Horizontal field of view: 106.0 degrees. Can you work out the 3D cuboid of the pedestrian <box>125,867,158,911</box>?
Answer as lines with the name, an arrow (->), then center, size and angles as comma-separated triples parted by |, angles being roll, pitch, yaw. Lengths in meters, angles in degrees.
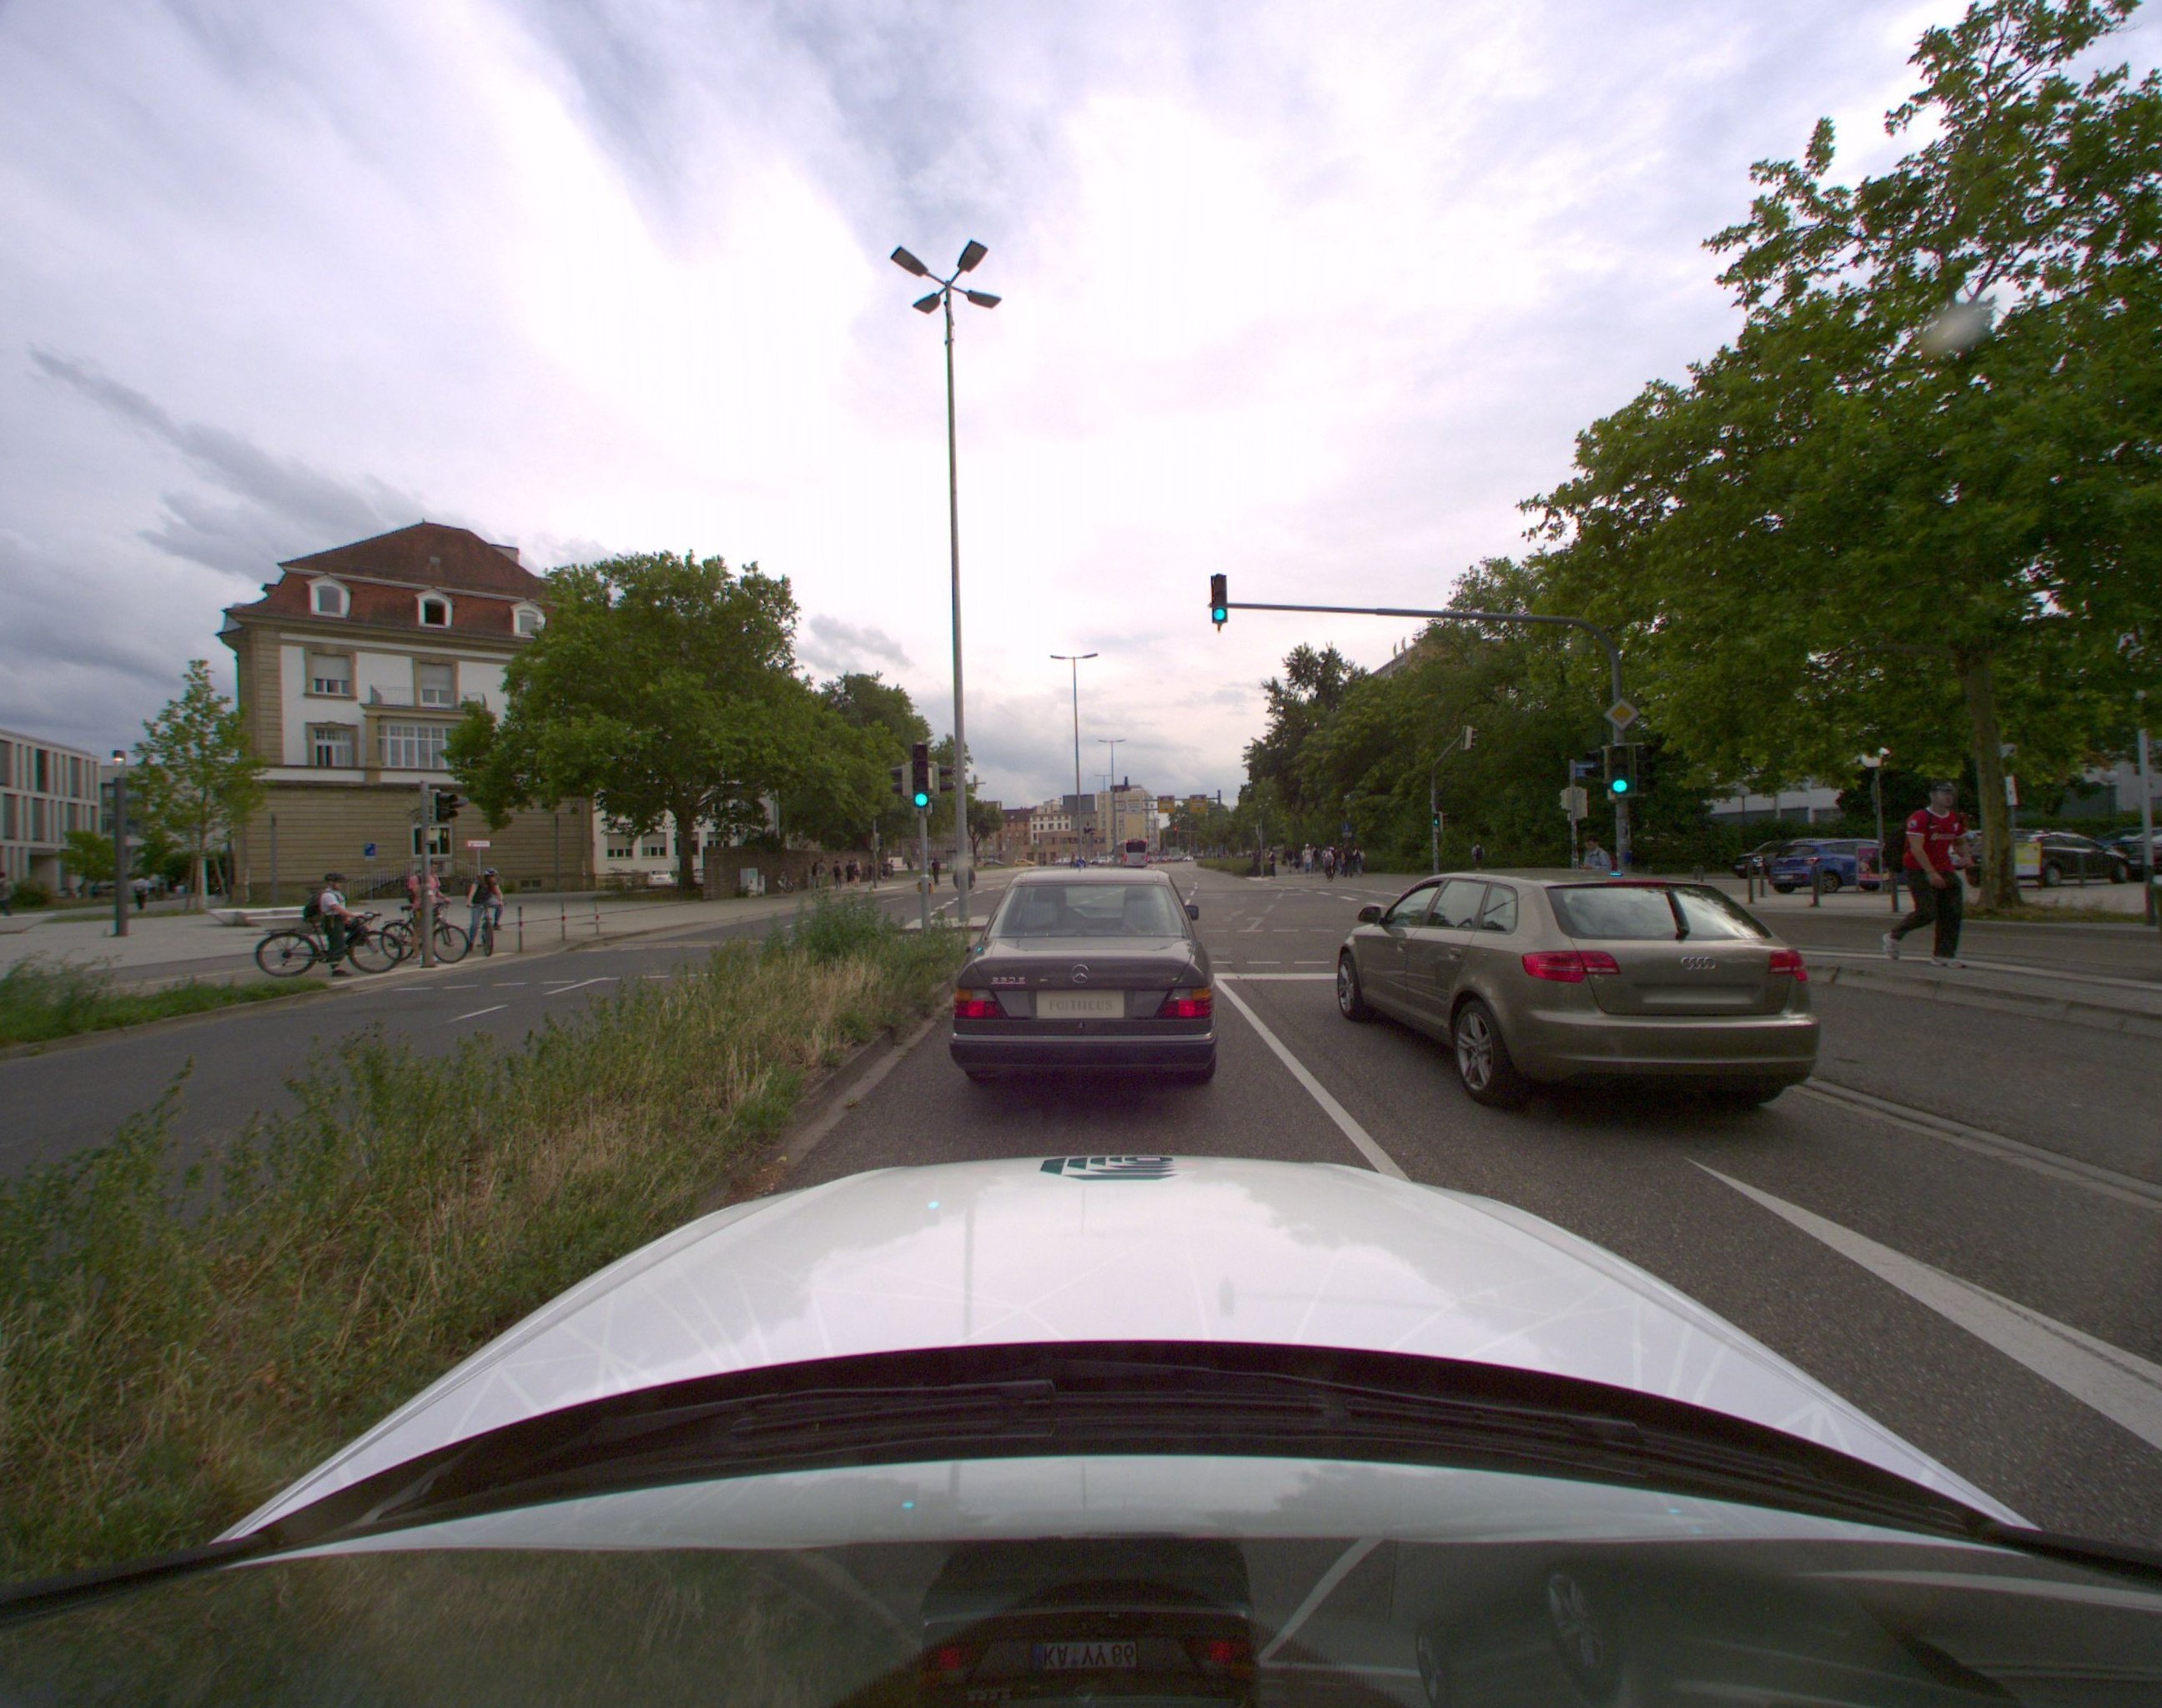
pedestrian -> -43.955, 1.627, 38.098 | 0.797, 2.013, 0.827 | -1, 0, -34

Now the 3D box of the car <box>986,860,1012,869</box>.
car -> -14.969, 1.902, 148.819 | 4.654, 1.475, 1.660 | 0, 0, 0

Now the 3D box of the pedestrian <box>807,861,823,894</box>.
pedestrian -> -14.788, 1.321, 45.248 | 0.763, 1.782, 0.777 | 0, -2, -27

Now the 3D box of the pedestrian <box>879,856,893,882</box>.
pedestrian -> -13.671, 1.081, 57.112 | 0.762, 1.782, 0.917 | -1, -2, -24

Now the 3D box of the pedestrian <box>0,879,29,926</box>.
pedestrian -> -36.393, 1.644, 27.549 | 0.698, 1.548, 0.737 | -2, -1, 8

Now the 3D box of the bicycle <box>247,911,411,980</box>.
bicycle -> -12.082, 1.456, 13.145 | 1.818, 0.989, 0.726 | 0, -1, -12

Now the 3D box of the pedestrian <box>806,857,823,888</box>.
pedestrian -> -15.454, 1.093, 47.232 | 0.749, 1.782, 0.776 | 0, -2, -30

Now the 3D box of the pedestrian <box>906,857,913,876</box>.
pedestrian -> -14.898, 1.103, 70.954 | 0.560, 1.668, 0.624 | -1, -2, -12

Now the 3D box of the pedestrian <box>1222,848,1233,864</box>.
pedestrian -> 16.577, 0.213, 91.936 | 0.925, 1.830, 0.893 | -2, 0, 32

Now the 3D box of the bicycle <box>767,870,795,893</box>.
bicycle -> -15.356, 1.403, 41.762 | 0.575, 1.126, 2.165 | 1, 0, 1

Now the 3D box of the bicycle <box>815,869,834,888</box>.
bicycle -> -15.687, 1.484, 49.859 | 0.547, 1.058, 1.980 | 1, 0, -1

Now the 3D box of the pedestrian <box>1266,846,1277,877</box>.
pedestrian -> 10.908, 0.413, 46.715 | 0.452, 1.735, 0.637 | -2, -1, 3

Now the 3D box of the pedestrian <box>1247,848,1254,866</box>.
pedestrian -> 18.654, 0.310, 89.616 | 0.611, 2.014, 0.598 | -1, 0, 4

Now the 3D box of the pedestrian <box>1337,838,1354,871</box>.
pedestrian -> 14.356, 0.041, 44.221 | 0.654, 1.745, 0.781 | -2, 0, 3

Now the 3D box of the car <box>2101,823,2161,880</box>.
car -> 31.609, -0.114, 22.576 | 4.422, 1.567, 1.675 | -1, -1, 1

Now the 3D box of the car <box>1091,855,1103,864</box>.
car -> 2.791, 0.893, 142.686 | 1.793, 1.489, 4.294 | -2, 0, 5

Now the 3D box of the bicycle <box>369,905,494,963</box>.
bicycle -> -11.875, 1.449, 14.932 | 1.688, 0.989, 0.569 | 0, -1, -12

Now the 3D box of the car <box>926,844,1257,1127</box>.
car -> 0.122, 0.717, 6.501 | 1.754, 1.489, 4.173 | -2, 0, 2

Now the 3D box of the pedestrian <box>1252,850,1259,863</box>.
pedestrian -> 20.264, 0.321, 94.369 | 0.654, 1.470, 0.562 | -2, 0, 3

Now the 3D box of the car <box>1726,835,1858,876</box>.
car -> 27.422, 0.076, 31.489 | 3.556, 1.442, 1.685 | -1, -1, 2

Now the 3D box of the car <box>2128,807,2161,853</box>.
car -> 42.687, -0.963, 30.619 | 4.264, 1.692, 1.685 | -1, -1, 2

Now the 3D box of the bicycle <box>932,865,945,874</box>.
bicycle -> -15.150, 1.651, 86.740 | 0.467, 0.918, 2.347 | -2, 0, 13

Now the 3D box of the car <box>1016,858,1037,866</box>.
car -> -9.949, 1.488, 148.791 | 3.844, 1.517, 1.660 | 0, 0, 0

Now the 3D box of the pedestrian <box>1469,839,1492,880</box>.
pedestrian -> 17.893, 0.260, 36.510 | 0.642, 1.795, 0.741 | -2, -1, 3

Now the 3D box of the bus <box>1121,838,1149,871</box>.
bus -> 5.973, 0.055, 90.112 | 2.819, 3.390, 8.190 | -1, 0, 4

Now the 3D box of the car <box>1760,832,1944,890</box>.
car -> 21.656, 0.205, 22.977 | 3.558, 1.491, 1.675 | -1, -1, 1

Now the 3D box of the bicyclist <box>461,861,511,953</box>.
bicyclist -> -11.950, 1.038, 16.366 | 0.600, 1.807, 0.560 | 0, -1, -12

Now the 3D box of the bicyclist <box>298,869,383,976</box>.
bicyclist -> -11.960, 1.080, 13.176 | 0.727, 1.672, 0.721 | 0, -1, -12

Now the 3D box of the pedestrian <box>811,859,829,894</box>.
pedestrian -> -13.563, 1.187, 42.310 | 0.749, 1.782, 0.777 | 0, -2, -28

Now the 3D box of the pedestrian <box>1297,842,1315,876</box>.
pedestrian -> 12.317, 0.290, 44.544 | 0.644, 1.852, 0.827 | 0, -1, -9

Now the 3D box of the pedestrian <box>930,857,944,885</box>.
pedestrian -> -9.261, 1.115, 52.208 | 0.761, 1.782, 0.717 | -1, -2, -19

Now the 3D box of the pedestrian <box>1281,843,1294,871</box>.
pedestrian -> 13.597, 0.194, 53.638 | 0.689, 1.821, 0.956 | -2, 0, 6

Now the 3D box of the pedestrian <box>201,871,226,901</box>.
pedestrian -> -60.428, 2.215, 56.741 | 0.921, 2.013, 1.219 | -1, 0, -34

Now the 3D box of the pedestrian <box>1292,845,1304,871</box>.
pedestrian -> 13.997, 0.232, 52.540 | 0.553, 1.655, 0.754 | -2, 0, 6

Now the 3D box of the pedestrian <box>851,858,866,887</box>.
pedestrian -> -13.960, 1.183, 50.982 | 0.762, 1.782, 0.907 | -1, -2, -24

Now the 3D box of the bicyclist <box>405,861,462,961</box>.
bicyclist -> -11.868, 1.026, 14.939 | 0.600, 1.807, 0.560 | 0, -1, -12

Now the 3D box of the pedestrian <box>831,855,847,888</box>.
pedestrian -> -13.516, 0.988, 45.507 | 0.762, 1.782, 0.777 | -1, -2, -25

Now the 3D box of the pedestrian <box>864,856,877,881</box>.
pedestrian -> -15.408, 1.091, 59.546 | 0.762, 1.782, 0.777 | -1, -2, -24

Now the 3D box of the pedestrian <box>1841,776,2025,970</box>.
pedestrian -> 8.682, 0.182, 8.354 | 0.723, 1.853, 1.064 | -1, 0, 0

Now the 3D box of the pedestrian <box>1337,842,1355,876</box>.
pedestrian -> 13.860, 0.269, 42.654 | 0.654, 1.745, 0.781 | -2, 0, 3

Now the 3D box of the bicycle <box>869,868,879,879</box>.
bicycle -> -16.751, 1.585, 65.891 | 0.440, 0.797, 1.618 | 1, 1, -4

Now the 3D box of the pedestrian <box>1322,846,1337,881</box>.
pedestrian -> 12.174, 0.448, 39.921 | 0.543, 1.687, 0.637 | -2, -1, 3

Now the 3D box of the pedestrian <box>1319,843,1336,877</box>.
pedestrian -> 12.919, 0.297, 42.737 | 0.621, 1.745, 0.781 | -2, 0, 3

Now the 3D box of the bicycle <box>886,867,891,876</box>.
bicycle -> -17.992, 1.599, 76.192 | 0.441, 0.827, 1.614 | 1, -1, -12

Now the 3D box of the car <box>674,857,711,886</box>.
car -> -28.451, 1.294, 59.551 | 1.794, 2.013, 3.957 | -1, 0, -34

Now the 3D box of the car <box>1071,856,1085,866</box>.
car -> -0.434, 1.063, 124.559 | 1.754, 1.489, 4.549 | -2, 0, 3

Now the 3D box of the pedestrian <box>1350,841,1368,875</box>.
pedestrian -> 14.547, 0.221, 42.597 | 0.654, 1.745, 0.781 | -2, 0, 3

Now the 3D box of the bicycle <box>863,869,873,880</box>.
bicycle -> -16.610, 1.630, 63.633 | 0.440, 0.797, 1.618 | 1, 1, -4

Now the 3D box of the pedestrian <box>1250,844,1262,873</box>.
pedestrian -> 10.602, 0.296, 49.355 | 0.599, 1.735, 0.655 | -2, -1, 3

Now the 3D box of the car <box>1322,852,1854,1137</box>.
car -> 3.228, 0.743, 6.166 | 1.718, 1.457, 3.736 | -2, 0, 1

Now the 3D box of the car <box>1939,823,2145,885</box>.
car -> 26.738, 0.018, 22.753 | 3.669, 1.567, 1.675 | -1, -1, 1

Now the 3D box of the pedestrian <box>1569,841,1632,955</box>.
pedestrian -> 8.490, 0.703, 13.332 | 0.570, 1.817, 0.683 | -1, -1, 5

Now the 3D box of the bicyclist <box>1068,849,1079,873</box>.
bicyclist -> -0.492, 0.489, 54.007 | 0.569, 1.574, 0.701 | -2, 0, 9

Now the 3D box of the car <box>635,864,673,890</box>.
car -> -30.913, 1.645, 58.906 | 1.919, 1.751, 3.957 | -1, 0, -35

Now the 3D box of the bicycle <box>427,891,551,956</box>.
bicycle -> -11.858, 1.381, 16.356 | 1.891, 1.170, 0.604 | -1, 0, -13

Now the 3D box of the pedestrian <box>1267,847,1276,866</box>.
pedestrian -> 16.875, 0.243, 72.184 | 0.584, 1.683, 0.749 | -2, 0, 5

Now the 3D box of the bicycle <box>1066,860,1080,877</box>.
bicycle -> -0.529, 0.954, 53.880 | 0.570, 1.055, 1.931 | -2, 0, 9

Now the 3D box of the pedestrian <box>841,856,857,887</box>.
pedestrian -> -13.538, 1.049, 47.554 | 0.762, 1.782, 0.777 | -1, -2, -24
